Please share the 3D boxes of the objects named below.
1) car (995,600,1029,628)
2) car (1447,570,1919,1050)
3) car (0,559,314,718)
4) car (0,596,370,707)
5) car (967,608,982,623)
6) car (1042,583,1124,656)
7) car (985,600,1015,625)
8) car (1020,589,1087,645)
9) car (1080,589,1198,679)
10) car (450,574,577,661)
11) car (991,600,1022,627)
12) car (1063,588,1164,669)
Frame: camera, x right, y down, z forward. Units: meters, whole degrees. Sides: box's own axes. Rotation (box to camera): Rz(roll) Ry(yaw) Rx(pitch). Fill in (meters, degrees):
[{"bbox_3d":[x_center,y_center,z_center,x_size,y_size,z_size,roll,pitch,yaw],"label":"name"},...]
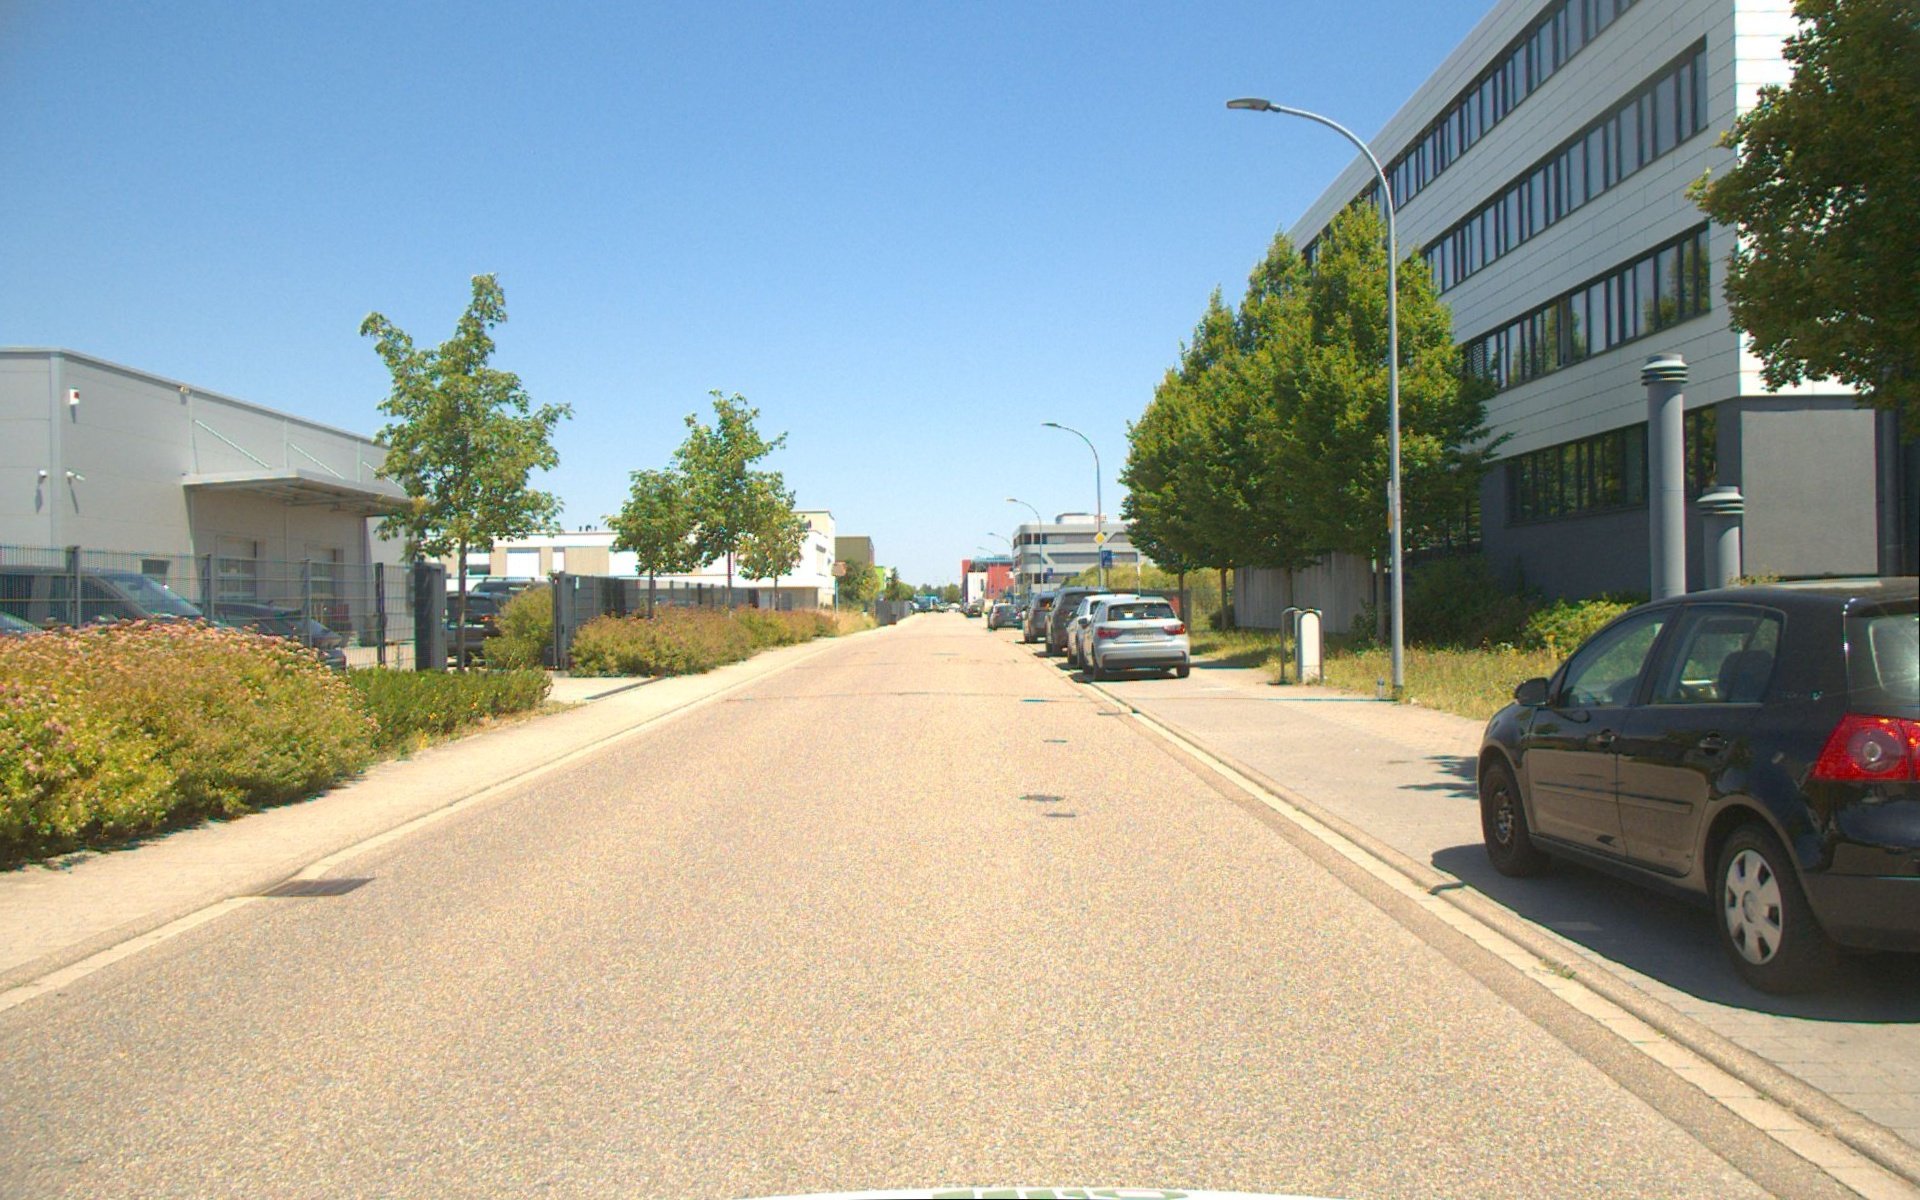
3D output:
[{"bbox_3d":[2.983,0.800,94.579,1.868,1.473,4.001,-3,0,2],"label":"car"},{"bbox_3d":[3.716,0.644,7.438,1.657,1.502,4.268,-2,0,-1],"label":"car"},{"bbox_3d":[-10.910,0.457,20.576,4.956,1.883,1.964,0,0,-1],"label":"car"},{"bbox_3d":[-10.695,0.684,23.061,4.217,1.471,1.964,0,0,-1],"label":"car"},{"bbox_3d":[1.798,1.925,205.544,1.740,1.758,3.999,1,0,0],"label":"car"},{"bbox_3d":[3.088,0.465,42.212,1.722,1.692,4.363,-2,0,0],"label":"car"},{"bbox_3d":[2.694,0.820,109.774,1.868,1.573,4.001,-3,0,2],"label":"car"},{"bbox_3d":[3.073,0.533,55.137,1.767,1.691,4.607,-3,0,-1],"label":"car"},{"bbox_3d":[3.207,0.580,30.293,1.681,1.448,3.951,-3,0,0],"label":"car"},{"bbox_3d":[-11.662,0.434,43.572,1.959,2.135,4.694,1,0,1],"label":"car"},{"bbox_3d":[2.920,0.805,103.489,1.868,1.573,4.001,-3,0,2],"label":"car"},{"bbox_3d":[3.184,0.564,34.877,1.681,1.507,4.031,-3,0,0],"label":"car"}]
